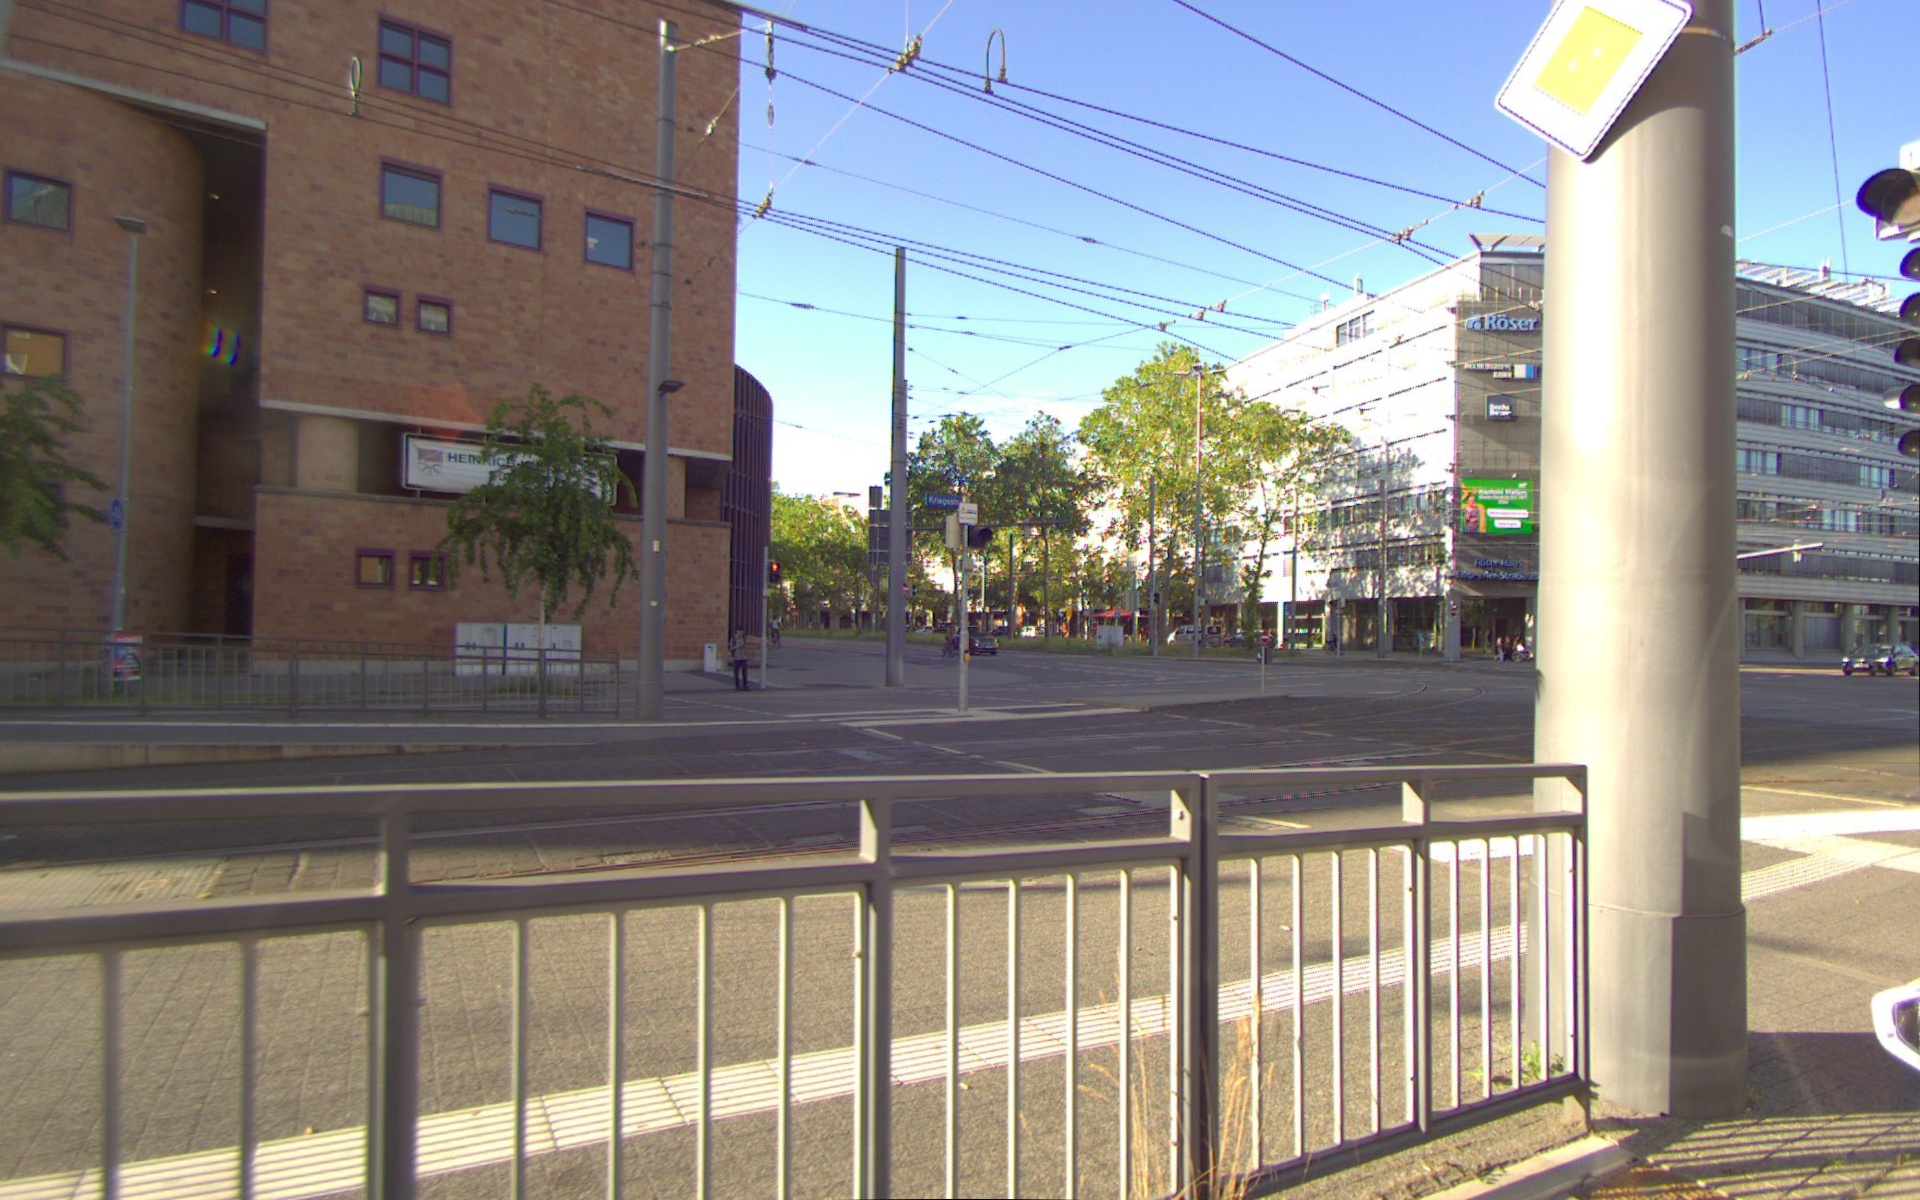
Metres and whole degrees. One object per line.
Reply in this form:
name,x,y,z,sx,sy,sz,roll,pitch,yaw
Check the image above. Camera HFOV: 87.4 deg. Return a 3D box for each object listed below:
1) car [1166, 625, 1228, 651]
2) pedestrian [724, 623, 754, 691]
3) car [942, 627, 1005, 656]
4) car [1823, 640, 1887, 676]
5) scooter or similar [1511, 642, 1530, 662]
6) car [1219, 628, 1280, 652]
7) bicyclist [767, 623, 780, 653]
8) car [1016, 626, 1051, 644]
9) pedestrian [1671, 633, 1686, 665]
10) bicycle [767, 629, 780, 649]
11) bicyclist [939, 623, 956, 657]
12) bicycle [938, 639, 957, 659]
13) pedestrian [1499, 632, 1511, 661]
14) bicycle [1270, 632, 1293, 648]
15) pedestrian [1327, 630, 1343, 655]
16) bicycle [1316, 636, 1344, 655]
car,18.236,2.913,77.539,1.904,1.868,4.889,-1,0,-28
pedestrian,-5.444,1.385,24.695,0.501,1.638,0.504,2,0,-41
car,0.695,2.195,53.119,1.637,1.346,3.591,2,0,-32
car,40.852,2.610,45.907,1.768,1.485,4.295,-1,-2,36
scooter or similar,34.069,3.166,61.094,1.001,1.144,0.549,0,-1,32
car,20.952,2.901,72.926,1.840,1.594,4.387,-1,0,-25
bicyclist,-10.478,2.132,56.420,0.674,1.611,0.925,2,-1,-13
car,7.189,3.393,98.535,1.840,1.660,3.844,1,-1,-25
pedestrian,42.032,2.888,58.763,0.667,1.847,0.881,-1,-3,40
bicycle,-10.473,2.162,56.383,0.606,1.094,1.915,2,-1,-13
bicyclist,-0.611,1.962,49.407,0.614,1.643,0.812,2,-1,-16
bicycle,-0.623,2.409,49.379,0.528,0.925,1.564,2,-1,-16
pedestrian,33.387,2.848,61.534,0.627,1.731,0.580,1,-1,31
bicycle,24.316,3.038,75.883,1.812,1.167,0.467,0,0,-23
pedestrian,25.134,2.828,67.301,0.598,1.633,0.832,-2,1,-27
bicycle,24.706,3.042,67.102,0.605,1.179,1.834,-2,1,-28
